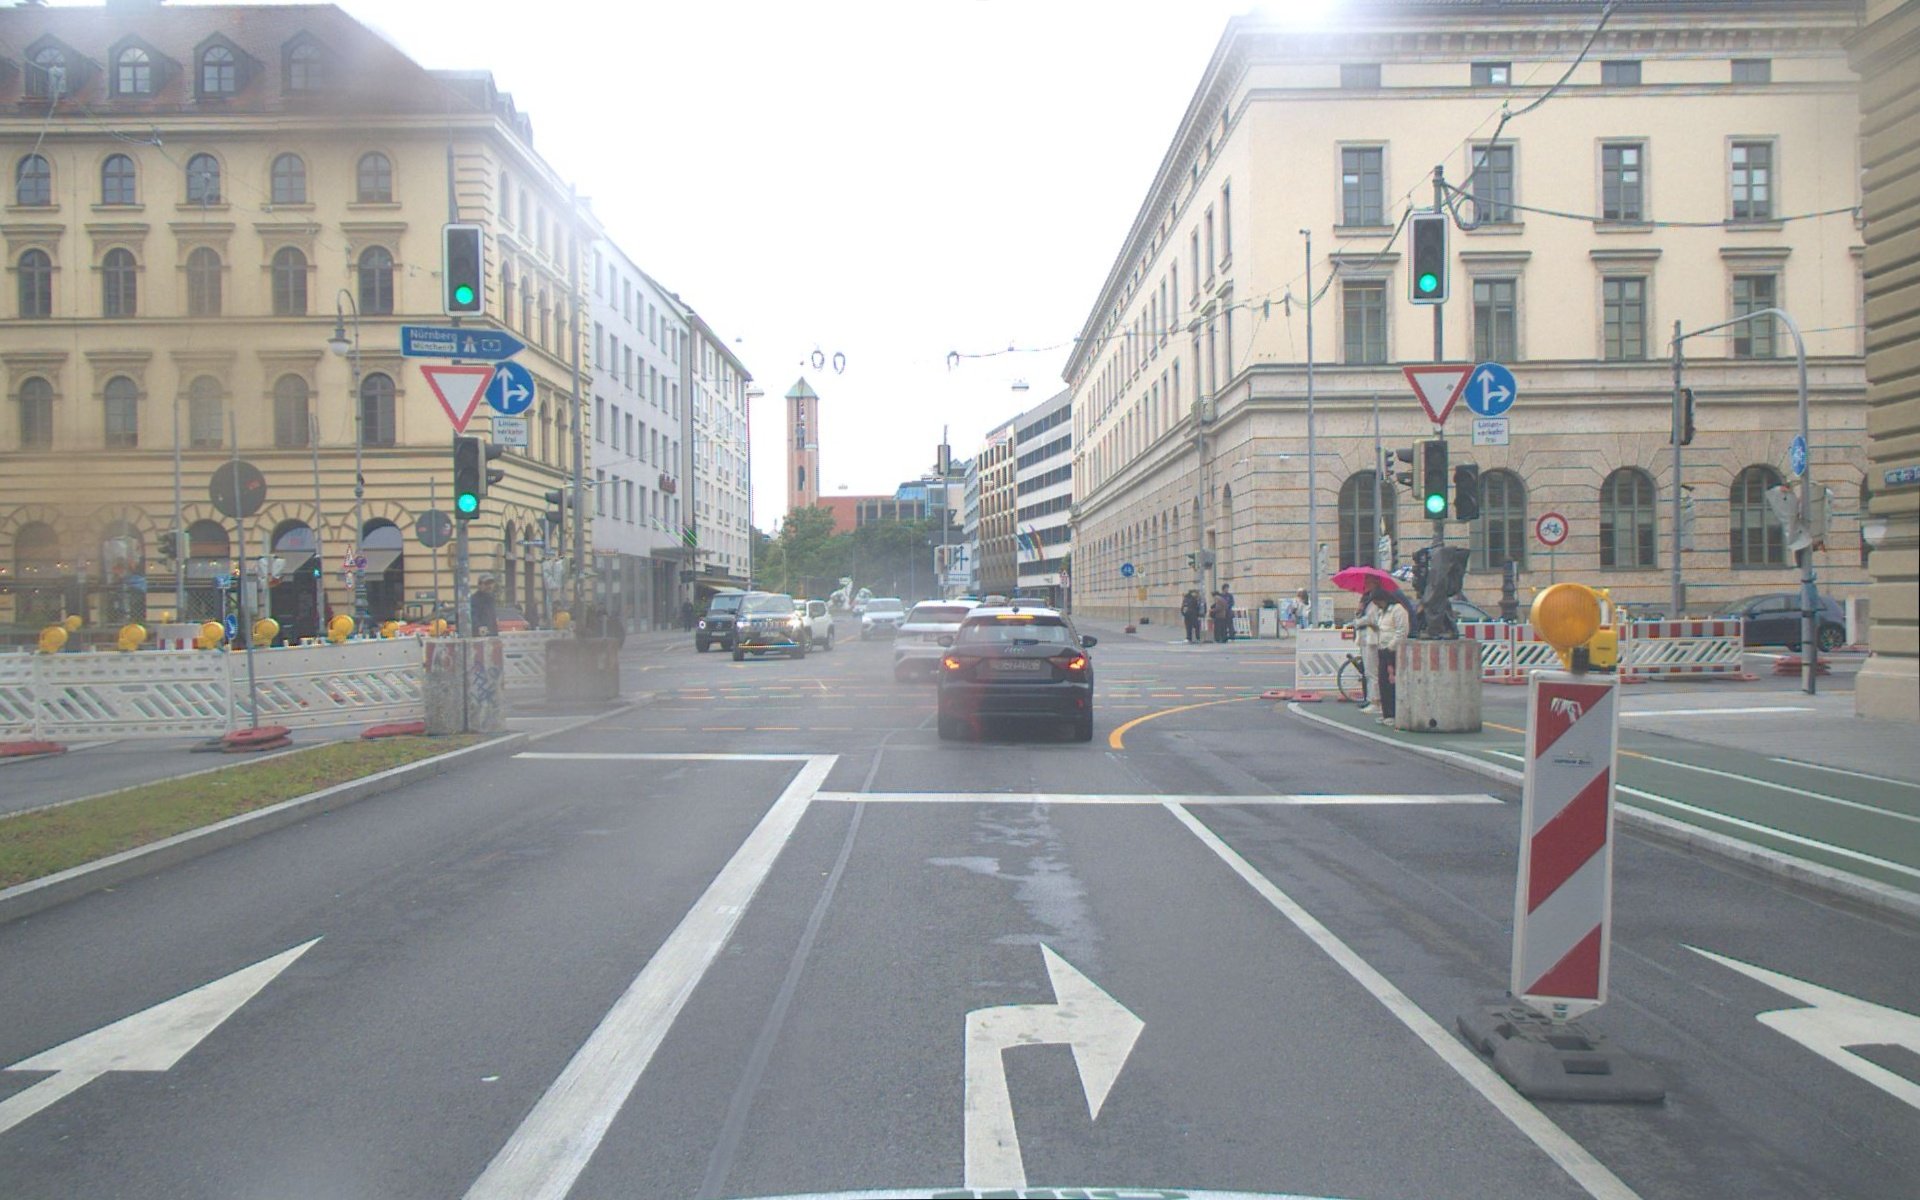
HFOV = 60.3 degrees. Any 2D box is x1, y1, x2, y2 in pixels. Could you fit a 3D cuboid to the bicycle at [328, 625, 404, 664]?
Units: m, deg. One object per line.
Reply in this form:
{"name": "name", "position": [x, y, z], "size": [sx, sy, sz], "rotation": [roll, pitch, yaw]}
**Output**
{"name": "bicycle", "position": [-18.252, 1.368, 50.818], "size": [2.164, 1.118, 0.595], "rotation": [-1, 0, -26]}

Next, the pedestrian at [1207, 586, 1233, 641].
{"name": "pedestrian", "position": [8.665, 0.445, 55.123], "size": [0.573, 1.786, 0.818], "rotation": [0, 0, 30]}

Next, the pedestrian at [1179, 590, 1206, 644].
{"name": "pedestrian", "position": [7.679, 0.555, 54.702], "size": [0.800, 1.786, 0.680], "rotation": [0, 0, 16]}

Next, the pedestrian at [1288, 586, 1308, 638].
{"name": "pedestrian", "position": [11.076, 0.384, 54.181], "size": [0.603, 1.701, 0.542], "rotation": [0, 0, 7]}

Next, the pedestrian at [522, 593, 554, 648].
{"name": "pedestrian", "position": [-14.019, 0.668, 54.933], "size": [0.718, 1.803, 0.739], "rotation": [0, 0, 20]}

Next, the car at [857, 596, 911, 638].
{"name": "car", "position": [-2.943, 0.643, 64.596], "size": [1.953, 1.550, 4.232], "rotation": [-1, 0, -1]}

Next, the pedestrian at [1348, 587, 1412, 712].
{"name": "pedestrian", "position": [5.455, 0.630, 21.503], "size": [0.688, 1.594, 0.584], "rotation": [0, 0, 2]}

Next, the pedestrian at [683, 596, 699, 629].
{"name": "pedestrian", "position": [-14.384, 0.663, 88.547], "size": [0.722, 1.803, 0.736], "rotation": [0, 0, -1]}

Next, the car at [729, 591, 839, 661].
{"name": "car", "position": [-4.744, 0.666, 45.232], "size": [1.952, 1.765, 4.589], "rotation": [-1, 0, 7]}

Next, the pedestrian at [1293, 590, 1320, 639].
{"name": "pedestrian", "position": [11.179, 0.456, 53.427], "size": [0.800, 1.584, 0.667], "rotation": [0, 0, 7]}

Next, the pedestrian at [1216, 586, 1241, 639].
{"name": "pedestrian", "position": [9.066, 0.412, 55.806], "size": [0.573, 1.786, 0.818], "rotation": [0, 0, 30]}

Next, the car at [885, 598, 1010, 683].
{"name": "car", "position": [-0.150, 0.703, 30.934], "size": [1.774, 1.449, 4.455], "rotation": [1, 0, 7]}

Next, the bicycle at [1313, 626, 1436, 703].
{"name": "bicycle", "position": [5.912, 0.909, 23.618], "size": [1.627, 1.029, 0.583], "rotation": [0, 0, 42]}

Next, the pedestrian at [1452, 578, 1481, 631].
{"name": "pedestrian", "position": [16.700, 0.154, 54.557], "size": [0.700, 1.723, 0.820], "rotation": [0, 0, 1]}

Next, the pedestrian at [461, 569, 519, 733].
{"name": "pedestrian", "position": [-5.275, 0.554, 18.592], "size": [0.503, 1.773, 1.041], "rotation": [-1, 0, -10]}

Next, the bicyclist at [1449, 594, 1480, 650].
{"name": "bicyclist", "position": [15.123, 0.653, 49.602], "size": [0.728, 1.643, 0.795], "rotation": [0, 0, 2]}

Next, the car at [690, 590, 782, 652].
{"name": "car", "position": [-7.762, 0.691, 57.722], "size": [2.190, 2.049, 4.453], "rotation": [-1, 0, 6]}

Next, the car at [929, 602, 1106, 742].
{"name": "car", "position": [0.568, 0.742, 19.057], "size": [1.825, 1.412, 3.999], "rotation": [0, 0, -1]}

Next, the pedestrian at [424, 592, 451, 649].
{"name": "pedestrian", "position": [-16.861, 0.656, 53.362], "size": [0.720, 1.803, 0.737], "rotation": [0, 0, -11]}

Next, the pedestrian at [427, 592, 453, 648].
{"name": "pedestrian", "position": [-17.008, 0.648, 54.082], "size": [0.720, 1.803, 0.737], "rotation": [0, 0, -11]}

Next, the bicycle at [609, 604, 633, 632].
{"name": "bicycle", "position": [-15.651, 0.837, 76.347], "size": [0.585, 1.264, 2.199], "rotation": [0, 0, 2]}

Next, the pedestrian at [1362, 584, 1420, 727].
{"name": "pedestrian", "position": [5.082, 0.644, 19.505], "size": [0.520, 1.648, 0.674], "rotation": [0, 0, 2]}

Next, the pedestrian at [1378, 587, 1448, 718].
{"name": "pedestrian", "position": [5.594, 0.633, 20.464], "size": [0.688, 1.594, 0.682], "rotation": [0, 0, 2]}

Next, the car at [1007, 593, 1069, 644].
{"name": "car", "position": [2.618, 0.595, 56.295], "size": [1.827, 1.629, 3.850], "rotation": [-1, 0, -1]}

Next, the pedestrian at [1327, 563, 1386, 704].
{"name": "pedestrian", "position": [5.466, 0.455, 22.814], "size": [0.688, 1.918, 0.641], "rotation": [0, 0, 4]}

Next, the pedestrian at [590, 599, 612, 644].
{"name": "pedestrian", "position": [-14.242, 0.848, 65.568], "size": [0.722, 1.803, 0.736], "rotation": [0, 0, -1]}

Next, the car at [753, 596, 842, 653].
{"name": "car", "position": [-5.108, 0.740, 52.475], "size": [1.755, 1.707, 4.237], "rotation": [-1, 0, 9]}

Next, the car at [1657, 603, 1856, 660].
{"name": "car", "position": [19.883, 0.791, 41.403], "size": [4.140, 1.413, 1.749], "rotation": [0, -1, -1]}

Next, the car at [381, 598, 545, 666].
{"name": "car", "position": [-13.662, 0.839, 45.522], "size": [3.959, 1.750, 1.799], "rotation": [-1, 0, -38]}

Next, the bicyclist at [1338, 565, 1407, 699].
{"name": "bicyclist", "position": [5.897, 0.447, 23.632], "size": [0.785, 1.886, 0.564], "rotation": [0, 0, 41]}
